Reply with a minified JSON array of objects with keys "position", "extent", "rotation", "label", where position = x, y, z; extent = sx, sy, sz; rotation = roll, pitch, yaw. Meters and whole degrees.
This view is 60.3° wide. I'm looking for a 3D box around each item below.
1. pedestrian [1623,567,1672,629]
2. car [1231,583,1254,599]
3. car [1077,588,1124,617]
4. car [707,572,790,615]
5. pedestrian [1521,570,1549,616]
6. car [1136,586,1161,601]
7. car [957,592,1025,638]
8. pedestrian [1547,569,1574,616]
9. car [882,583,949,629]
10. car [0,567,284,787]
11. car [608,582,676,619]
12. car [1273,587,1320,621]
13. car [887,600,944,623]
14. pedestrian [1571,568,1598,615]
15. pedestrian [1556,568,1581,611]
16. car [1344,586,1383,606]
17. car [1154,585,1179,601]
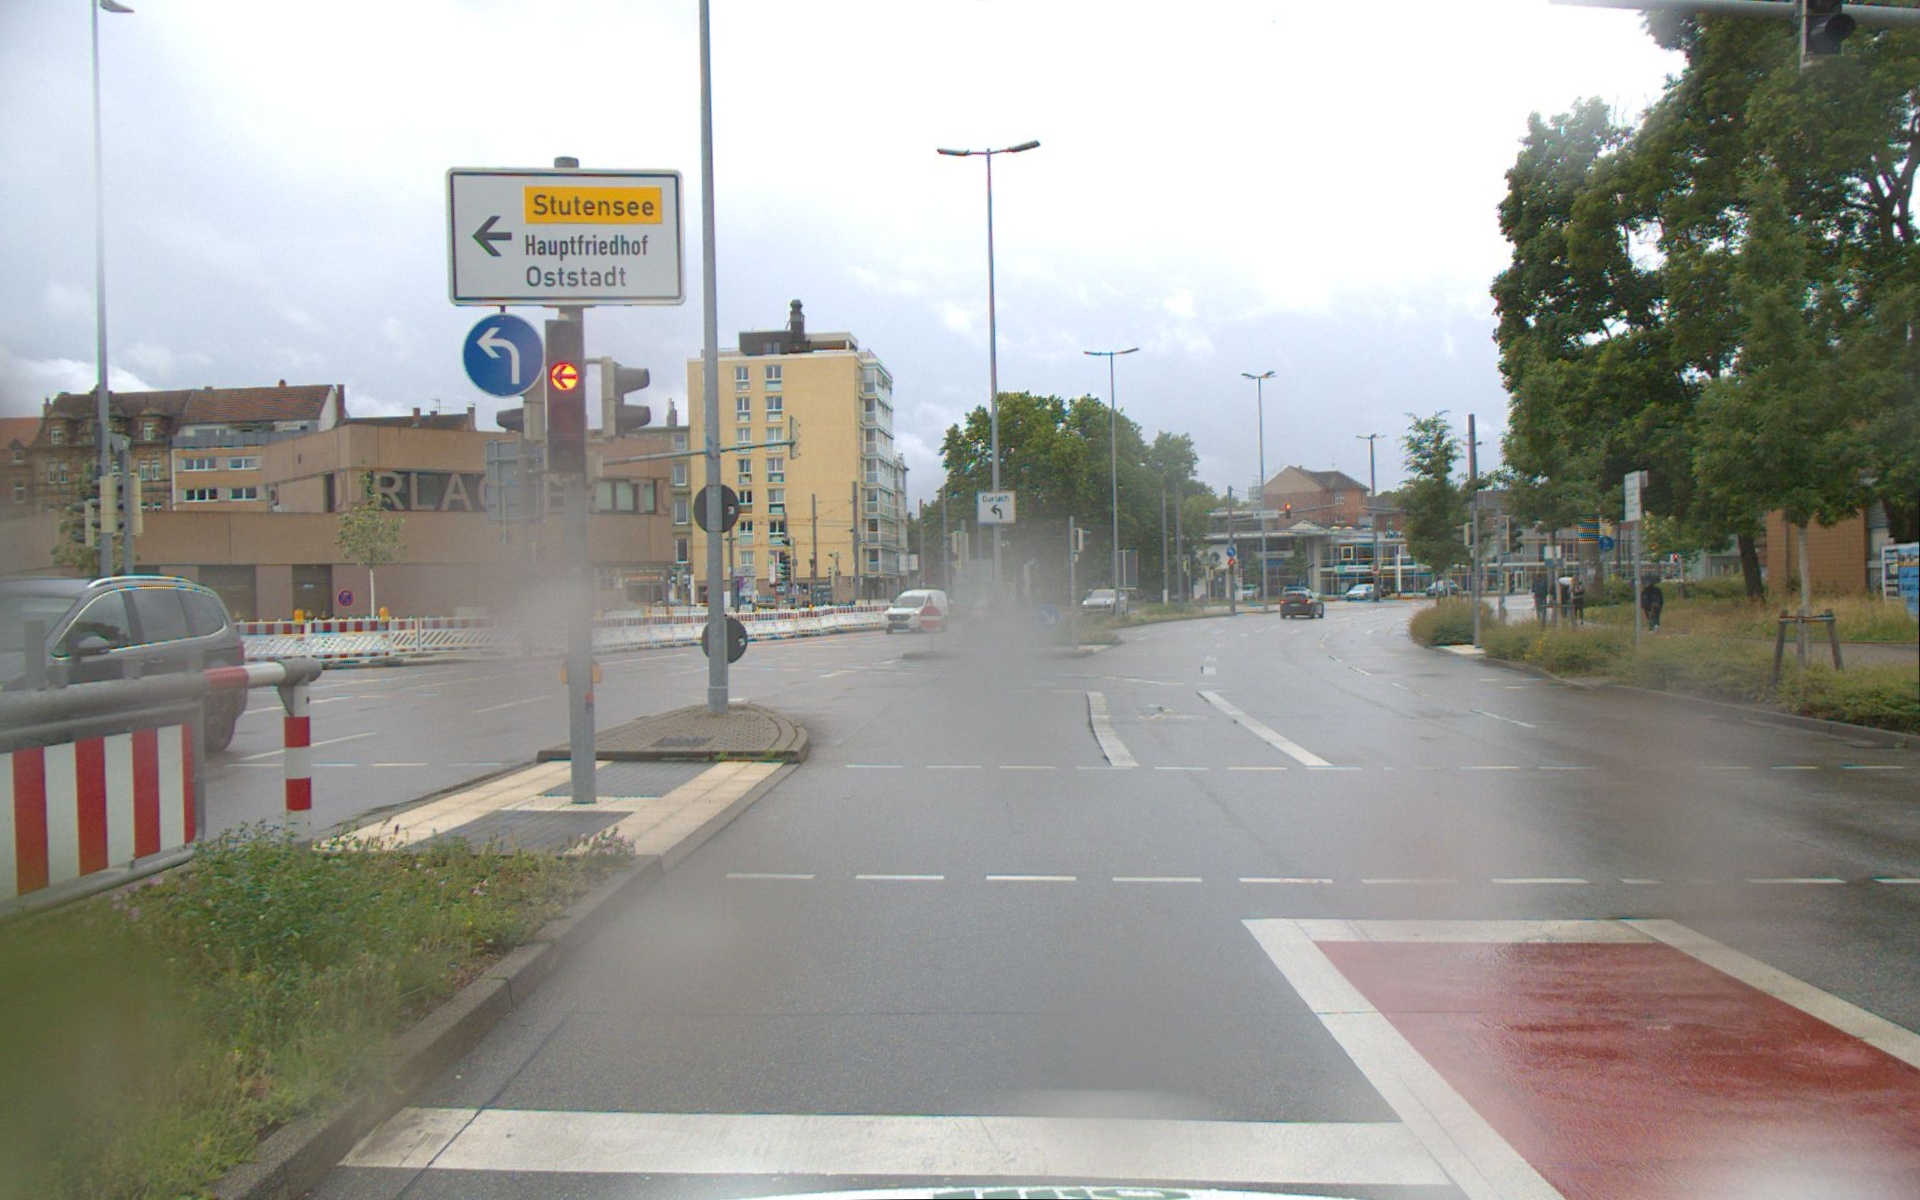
[{"position":[18.452,-0.064,44.414],"extent":[1.000,1.615,0.937],"rotation":[-1,0,9],"label":"pedestrian"},{"position":[31.945,-1.038,186.996],"extent":[1.753,1.672,4.159],"rotation":[-1,0,23],"label":"car"},{"position":[8.488,0.141,99.785],"extent":[1.753,1.672,4.160],"rotation":[-1,0,21],"label":"car"},{"position":[-18.007,-0.528,141.188],"extent":[6.601,3.439,2.810],"rotation":[-2,0,2],"label":"car"},{"position":[20.349,-0.257,58.556],"extent":[0.737,1.615,0.937],"rotation":[-1,0,9],"label":"pedestrian"},{"position":[21.746,-0.769,191.143],"extent":[1.753,1.672,4.159],"rotation":[-1,0,23],"label":"car"},{"position":[1.251,0.554,63.976],"extent":[1.752,1.672,4.050],"rotation":[-1,0,14],"label":"car"},{"position":[21.046,-0.274,57.998],"extent":[0.688,1.615,0.937],"rotation":[-1,0,9],"label":"pedestrian"},{"position":[-1.901,0.254,71.803],"extent":[1.752,1.890,4.163],"rotation":[-1,0,15],"label":"car"},{"position":[-8.165,0.606,14.966],"extent":[1.734,1.708,4.772],"rotation":[-1,0,5],"label":"car"},{"position":[-27.189,0.027,141.680],"extent":[5.239,2.937,2.340],"rotation":[-2,0,2],"label":"car"},{"position":[17.732,0.202,87.088],"extent":[1.753,1.672,4.160],"rotation":[-1,0,21],"label":"car"},{"position":[-3.573,0.927,132.657],"extent":[4.289,1.672,1.797],"rotation":[-1,0,7],"label":"car"},{"position":[21.741,-0.292,57.614],"extent":[0.688,1.615,0.937],"rotation":[-1,0,9],"label":"pedestrian"},{"position":[23.180,-0.395,63.000],"extent":[0.688,1.615,0.937],"rotation":[-1,0,9],"label":"pedestrian"},{"position":[36.865,-0.389,151.228],"extent":[1.763,1.672,4.136],"rotation":[-1,0,41],"label":"car"},{"position":[23.783,-0.819,190.347],"extent":[1.753,1.672,4.159],"rotation":[-1,0,23],"label":"car"}]
